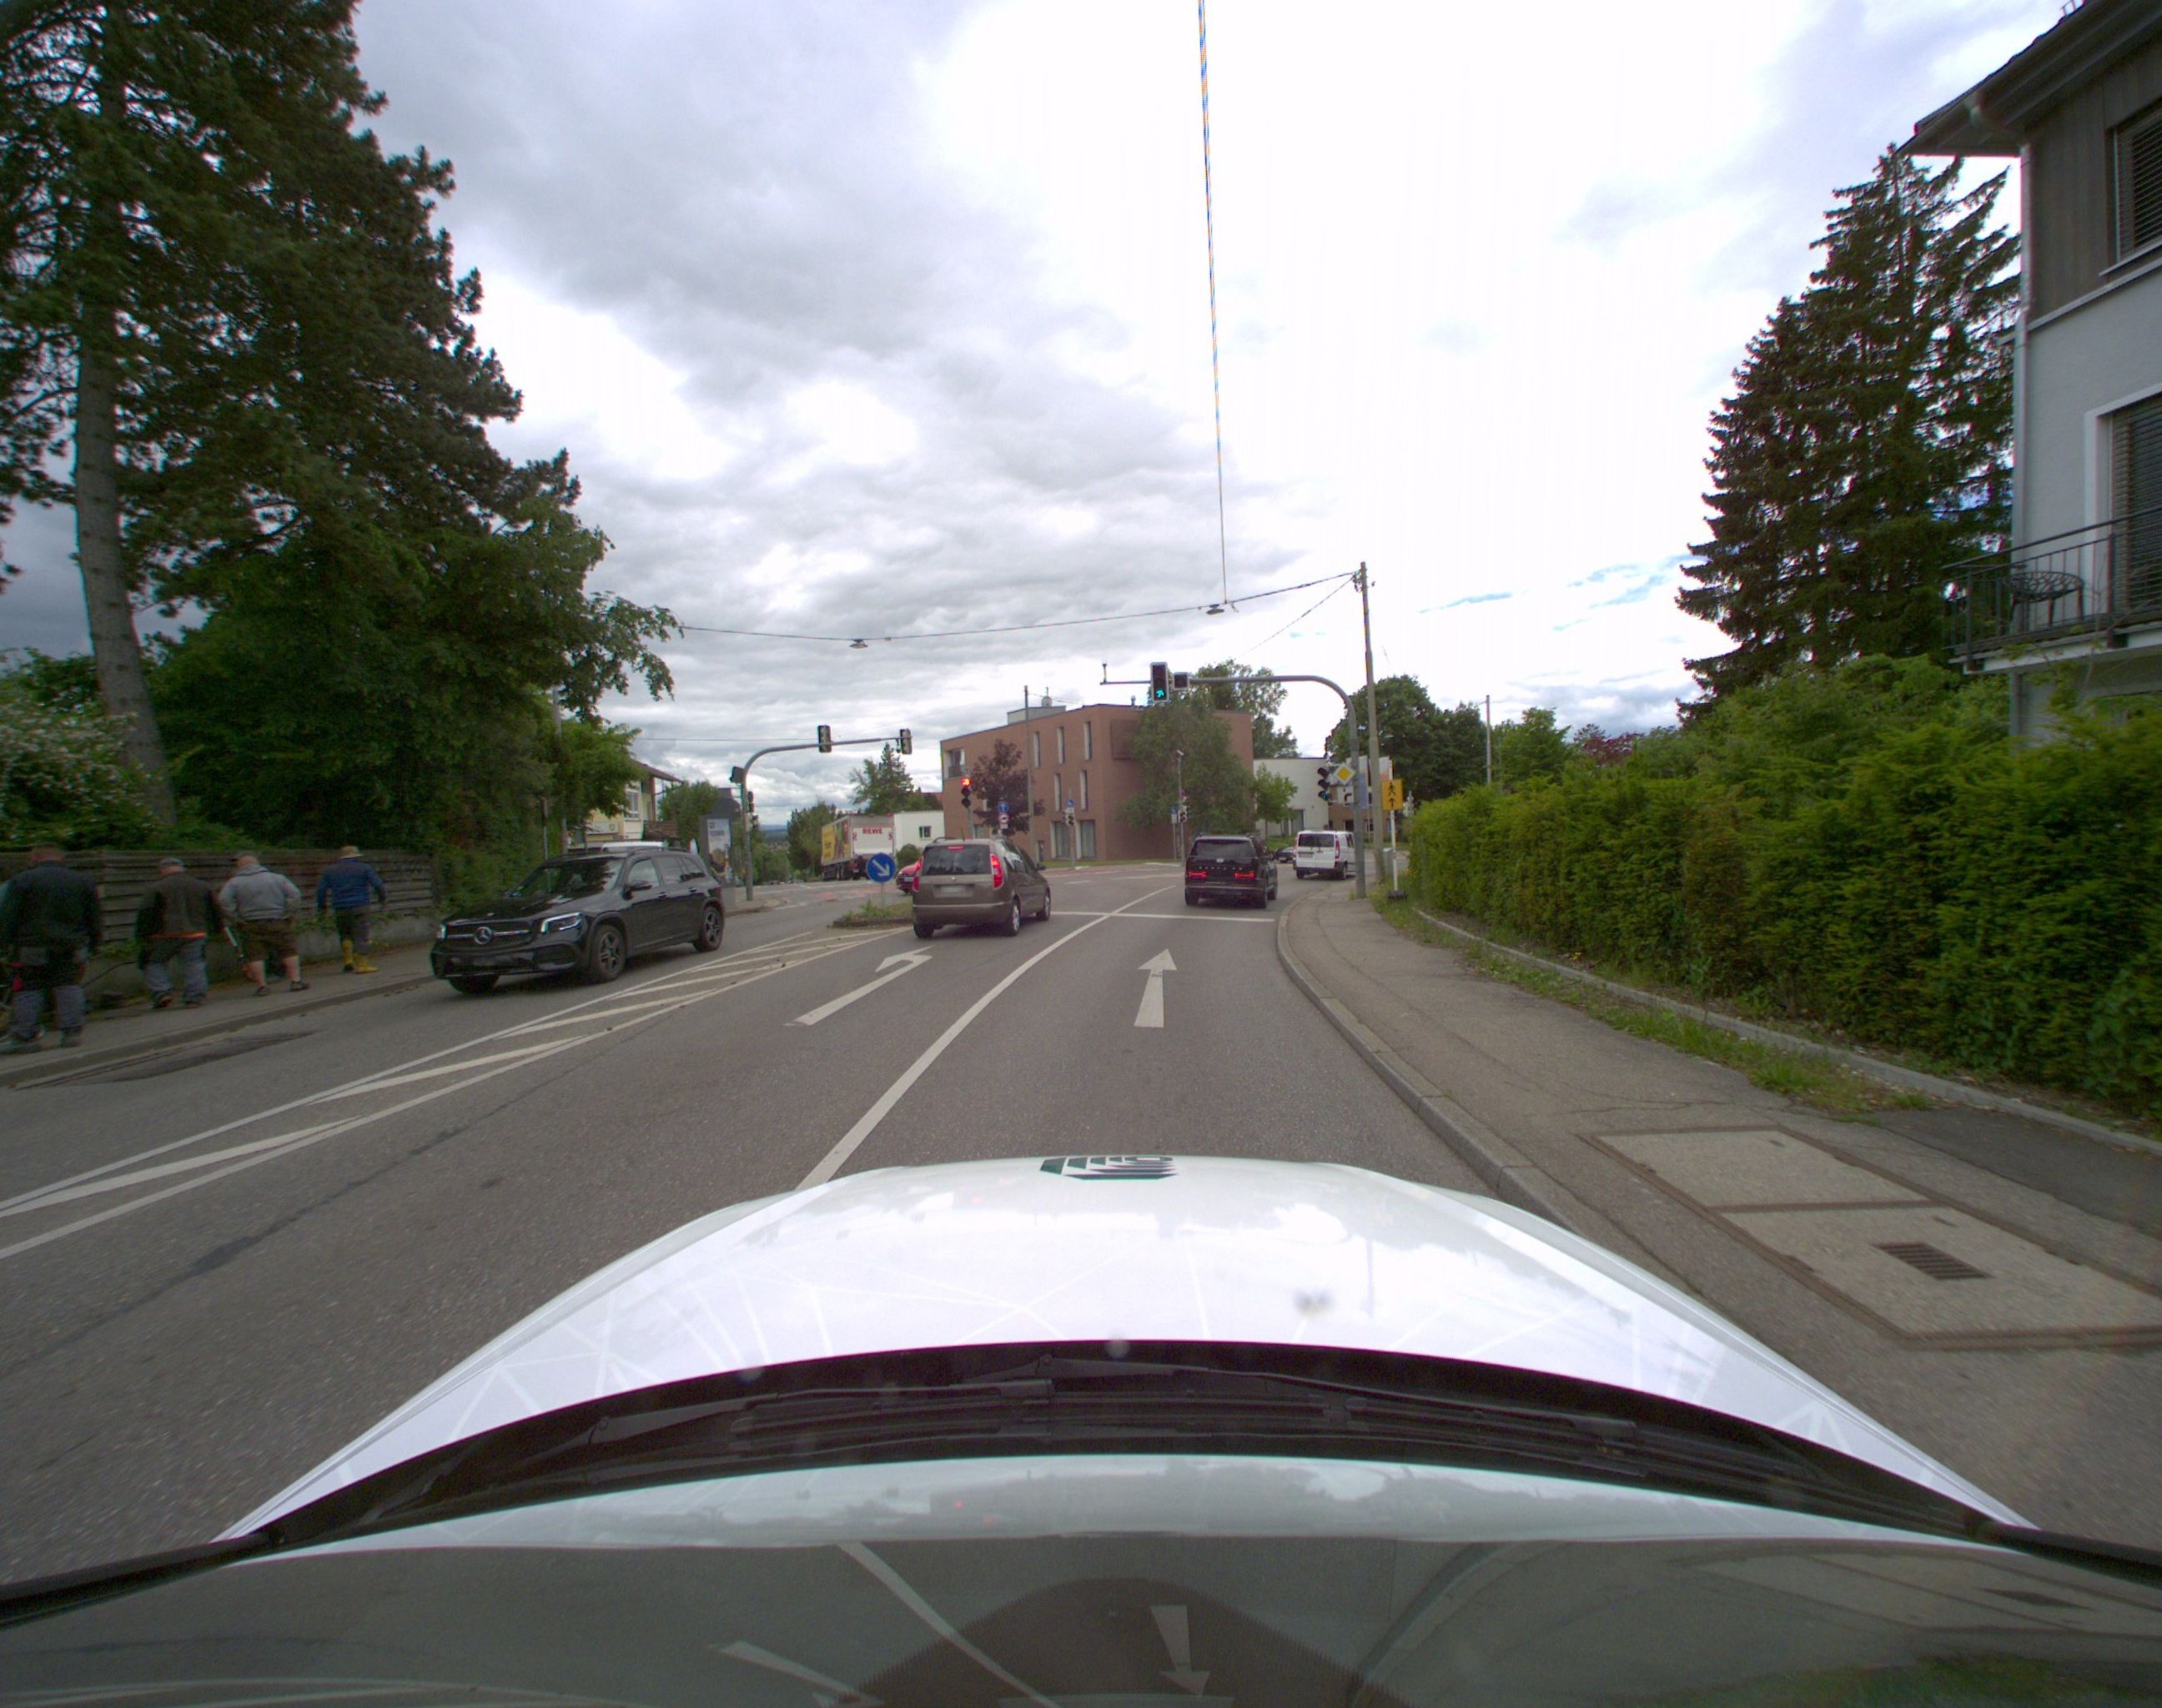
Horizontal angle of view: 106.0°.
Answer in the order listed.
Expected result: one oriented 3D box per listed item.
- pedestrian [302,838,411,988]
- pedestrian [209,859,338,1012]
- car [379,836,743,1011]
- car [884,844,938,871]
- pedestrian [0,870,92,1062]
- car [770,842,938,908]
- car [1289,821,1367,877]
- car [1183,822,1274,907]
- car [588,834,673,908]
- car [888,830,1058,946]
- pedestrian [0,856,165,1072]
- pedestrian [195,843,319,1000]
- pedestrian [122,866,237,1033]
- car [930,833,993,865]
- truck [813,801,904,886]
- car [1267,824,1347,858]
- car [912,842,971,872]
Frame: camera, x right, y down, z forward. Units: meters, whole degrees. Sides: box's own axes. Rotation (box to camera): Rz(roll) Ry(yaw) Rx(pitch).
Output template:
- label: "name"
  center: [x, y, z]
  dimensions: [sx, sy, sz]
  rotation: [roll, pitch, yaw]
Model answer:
- label: "pedestrian"
  center: [-10.410, 0.803, 11.748]
  dimensions: [0.708, 2.013, 1.017]
  rotation: [-3, 1, -17]
- label: "pedestrian"
  center: [-9.965, 0.962, 10.096]
  dimensions: [0.874, 1.753, 0.688]
  rotation: [-3, 1, -26]
- label: "car"
  center: [-6.773, 0.735, 11.406]
  dimensions: [1.987, 1.797, 4.521]
  rotation: [-5, 1, 1]
- label: "car"
  center: [-14.645, 0.297, 70.151]
  dimensions: [4.013, 2.013, 1.981]
  rotation: [-5, 2, -31]
- label: "pedestrian"
  center: [-10.485, 1.074, 7.850]
  dimensions: [0.819, 1.763, 0.860]
  rotation: [-4, 1, -25]
- label: "car"
  center: [-6.489, 0.556, 23.633]
  dimensions: [1.974, 1.564, 4.245]
  rotation: [-2, 2, 41]
- label: "car"
  center: [9.969, -0.269, 32.659]
  dimensions: [1.943, 2.013, 4.457]
  rotation: [1, 3, 31]
- label: "car"
  center: [3.631, 0.167, 20.210]
  dimensions: [1.981, 1.881, 4.012]
  rotation: [1, 2, 10]
- label: "car"
  center: [-15.994, 0.544, 29.240]
  dimensions: [2.293, 2.227, 6.414]
  rotation: [-4, 2, -27]
- label: "car"
  center: [-1.738, 0.477, 14.610]
  dimensions: [1.882, 1.705, 4.010]
  rotation: [-3, 1, 9]
- label: "pedestrian"
  center: [-9.220, 0.961, 7.525]
  dimensions: [0.755, 1.837, 0.608]
  rotation: [-4, 1, -32]
- label: "pedestrian"
  center: [-11.107, 0.872, 11.008]
  dimensions: [0.702, 2.013, 0.813]
  rotation: [-3, 1, 1]
- label: "pedestrian"
  center: [-10.132, 1.033, 9.172]
  dimensions: [0.686, 1.734, 0.757]
  rotation: [-2, 2, 42]
- label: "car"
  center: [-8.727, -0.380, 59.599]
  dimensions: [4.013, 2.013, 1.981]
  rotation: [-4, 2, -30]
- label: "truck"
  center: [-14.411, -0.649, 51.914]
  dimensions: [3.142, 4.734, 11.692]
  rotation: [-4, 2, -26]
- label: "car"
  center: [12.801, -0.736, 46.045]
  dimensions: [4.811, 1.658, 1.976]
  rotation: [-4, 2, -41]
- label: "car"
  center: [-10.850, 0.202, 63.373]
  dimensions: [4.014, 2.013, 1.980]
  rotation: [-4, 2, -31]
